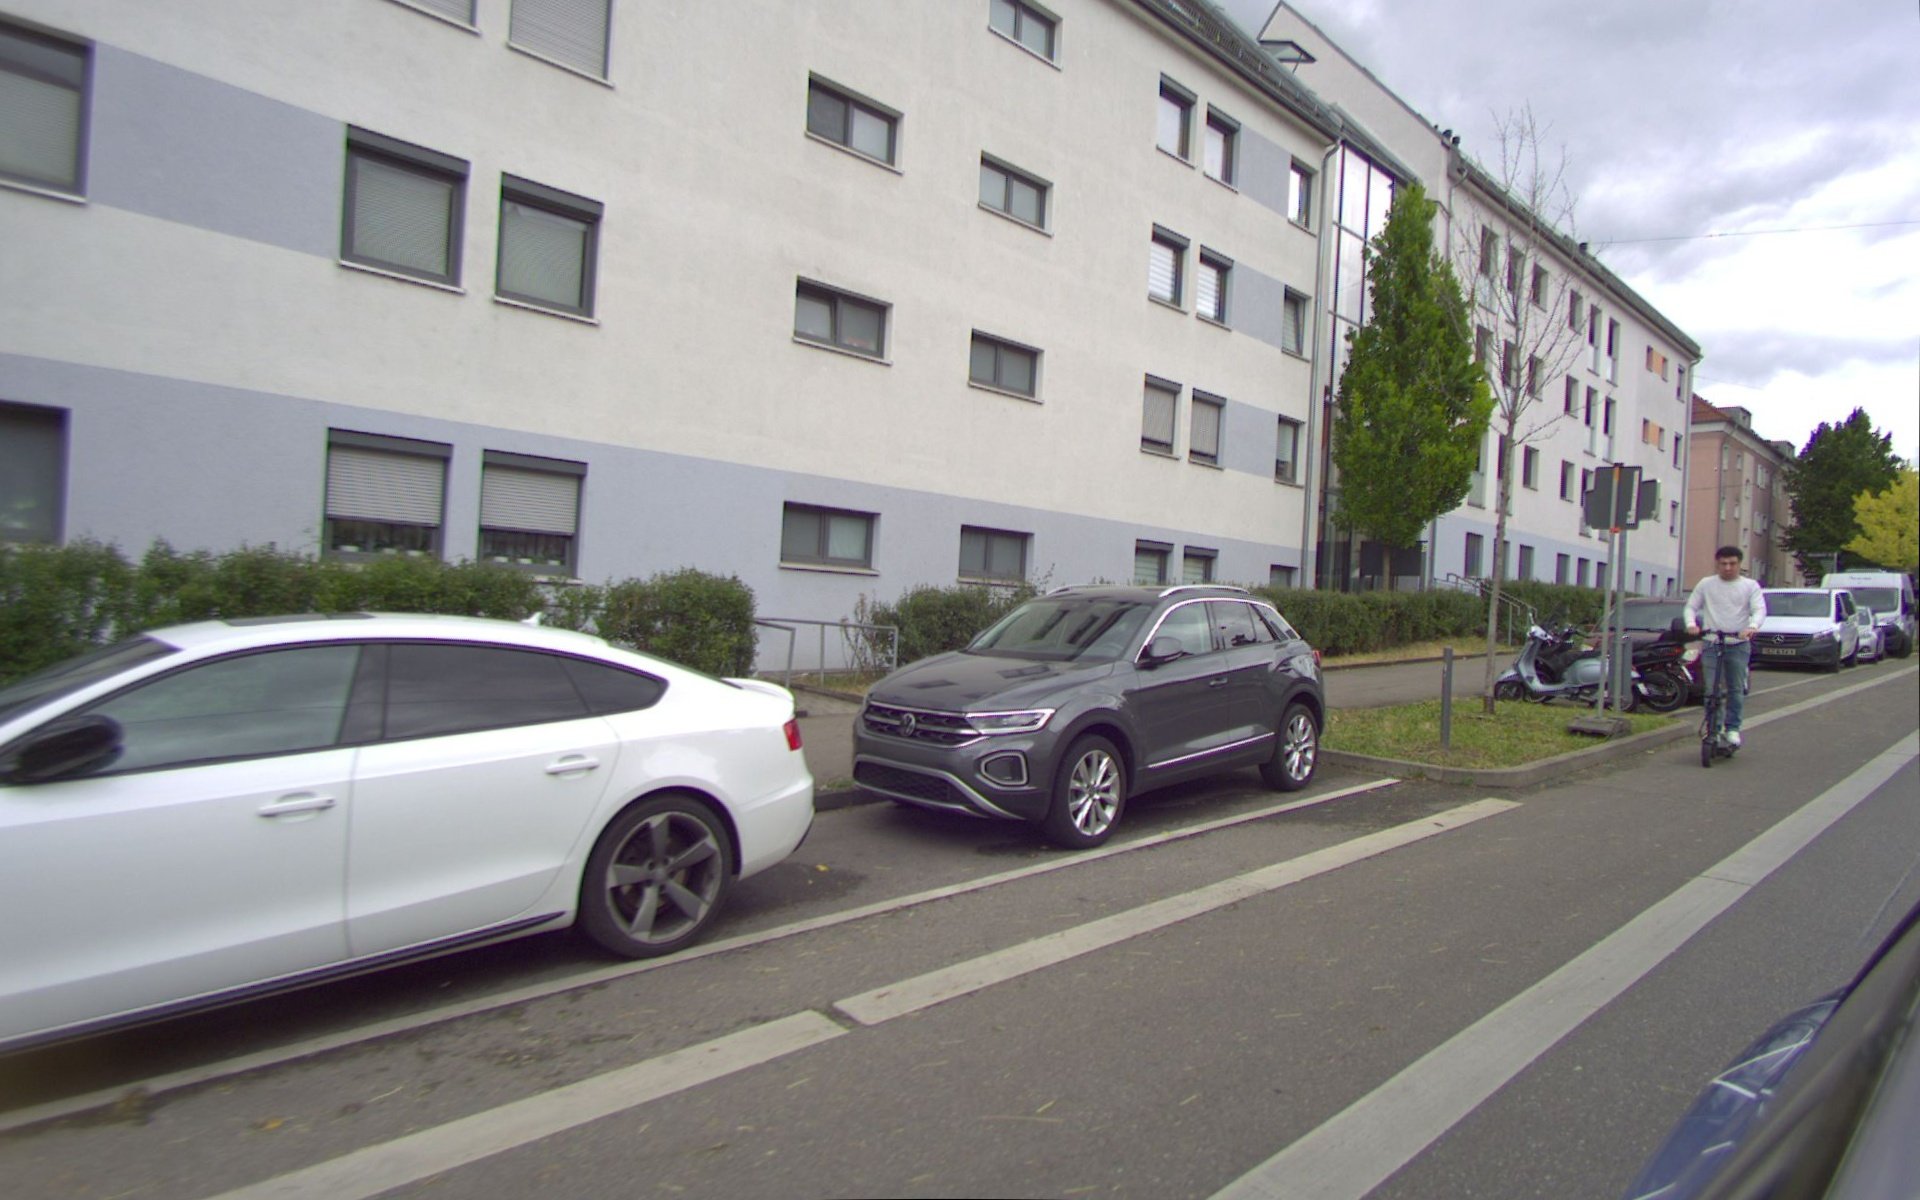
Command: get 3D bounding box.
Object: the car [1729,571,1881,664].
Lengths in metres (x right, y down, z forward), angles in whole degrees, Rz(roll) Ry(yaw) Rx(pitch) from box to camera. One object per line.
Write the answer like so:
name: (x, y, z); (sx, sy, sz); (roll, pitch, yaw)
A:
car: (19.946, 0.373, 23.807); (5.121, 1.968, 1.997); (1, 1, -42)

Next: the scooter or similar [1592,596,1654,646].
scooter or similar: (15.793, 0.484, 24.134); (0.460, 1.118, 1.387); (1, 1, -5)

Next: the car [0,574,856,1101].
car: (-2.689, 0.647, 3.862); (4.423, 1.431, 1.732); (1, 0, -43)

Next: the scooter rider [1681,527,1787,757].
scooter rider: (7.234, 0.370, 9.458); (0.744, 2.039, 0.626); (1, 0, -42)

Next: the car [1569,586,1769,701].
car: (11.273, 0.606, 15.978); (4.264, 1.564, 1.683); (1, 0, -42)

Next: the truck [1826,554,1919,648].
truck: (27.857, 0.039, 30.430); (5.591, 2.598, 2.055); (1, 1, -42)

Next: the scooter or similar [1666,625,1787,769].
scooter or similar: (7.141, 0.836, 9.388); (2.039, 1.178, 0.491); (1, 0, -42)

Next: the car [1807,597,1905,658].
car: (23.944, 0.696, 27.008); (3.661, 1.504, 1.527); (1, -1, -42)

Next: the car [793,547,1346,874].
car: (1.043, 0.581, 7.289); (4.284, 1.671, 1.633); (1, -1, -45)

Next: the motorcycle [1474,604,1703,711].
motorcycle: (8.705, 0.743, 14.143); (0.741, 1.295, 2.599); (1, 1, -44)

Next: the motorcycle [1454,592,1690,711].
motorcycle: (8.103, 0.628, 13.537); (0.681, 1.398, 2.599); (1, 1, -44)
